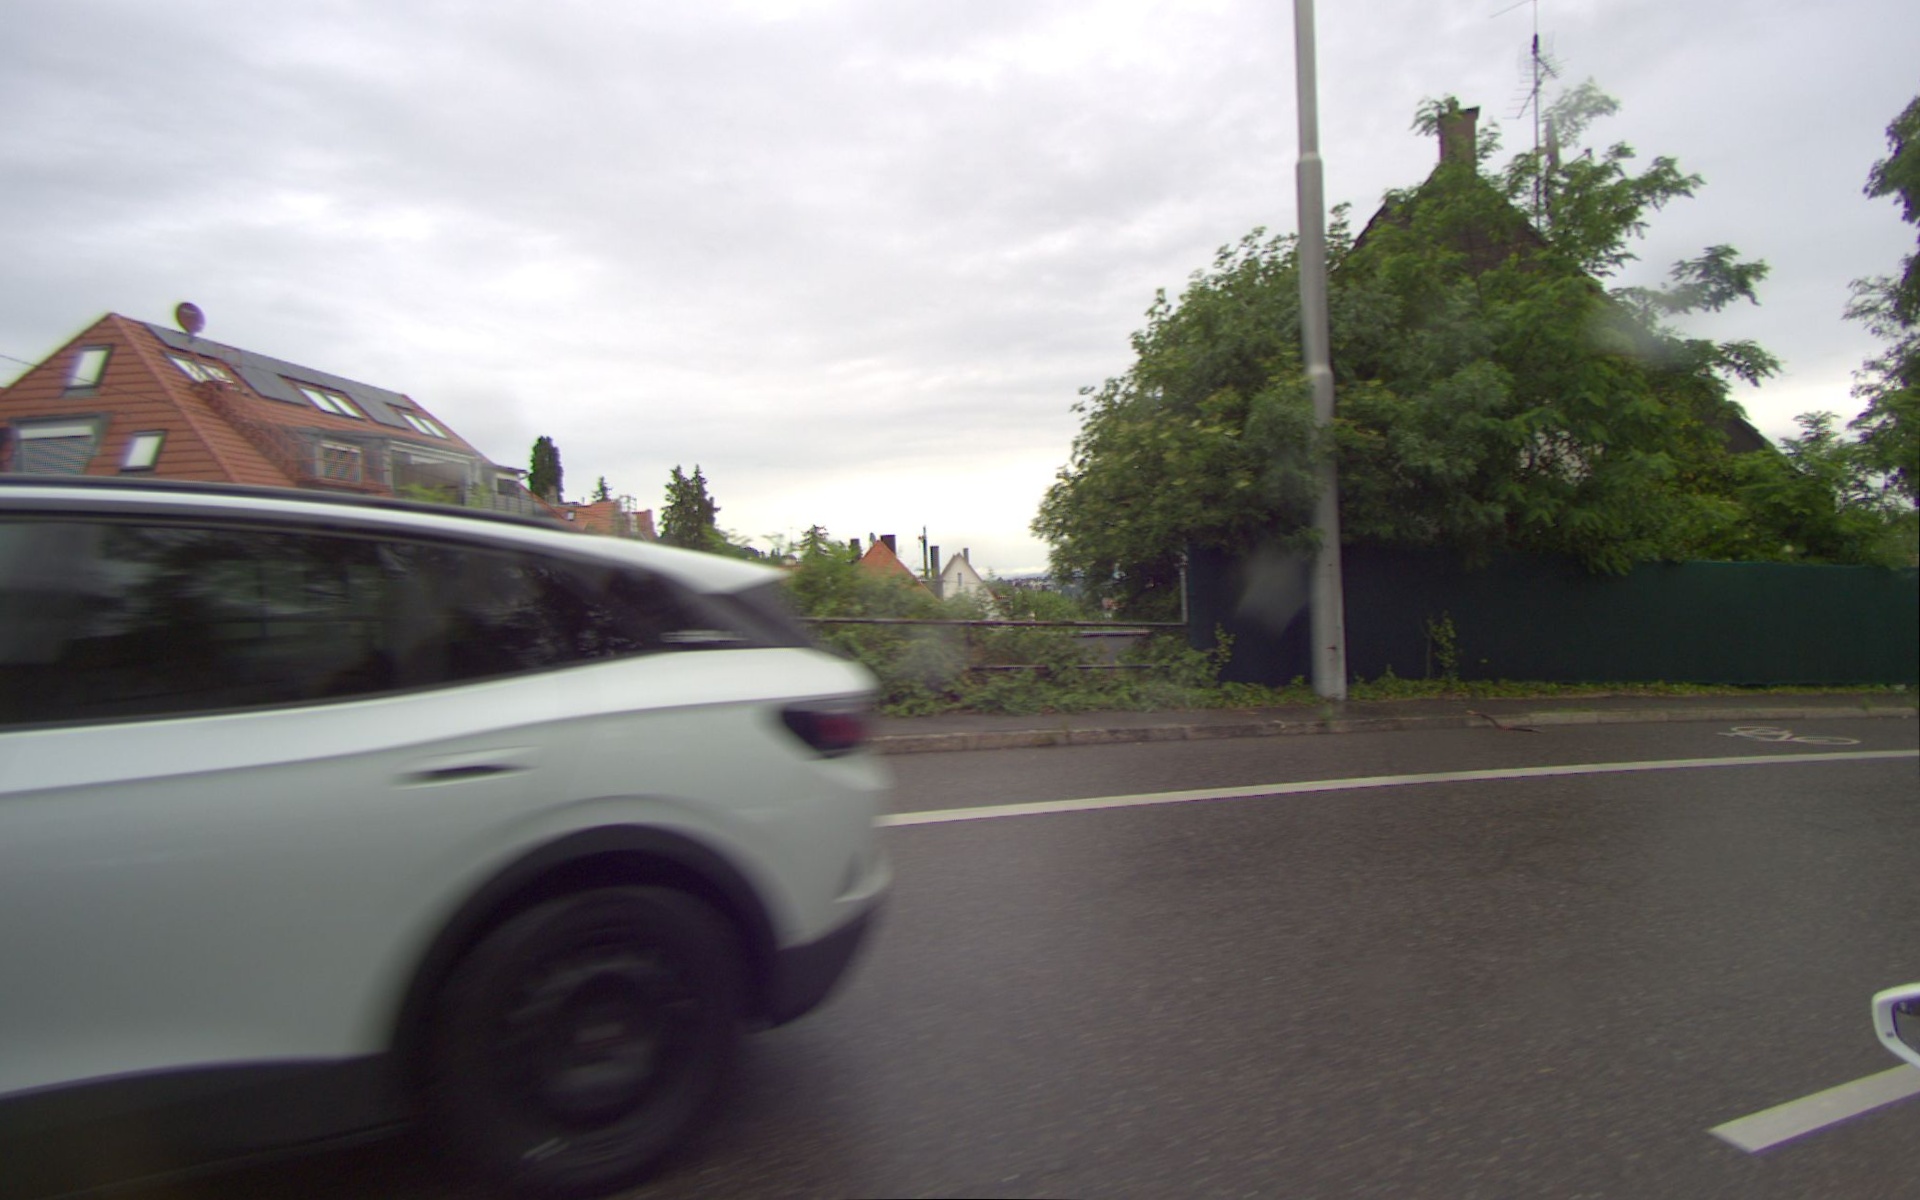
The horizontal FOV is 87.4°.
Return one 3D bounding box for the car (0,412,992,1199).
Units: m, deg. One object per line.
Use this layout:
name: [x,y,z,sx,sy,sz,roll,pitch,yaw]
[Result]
car: [-2.188,0.509,2.520,4.234,1.628,1.818,1,-2,-30]
